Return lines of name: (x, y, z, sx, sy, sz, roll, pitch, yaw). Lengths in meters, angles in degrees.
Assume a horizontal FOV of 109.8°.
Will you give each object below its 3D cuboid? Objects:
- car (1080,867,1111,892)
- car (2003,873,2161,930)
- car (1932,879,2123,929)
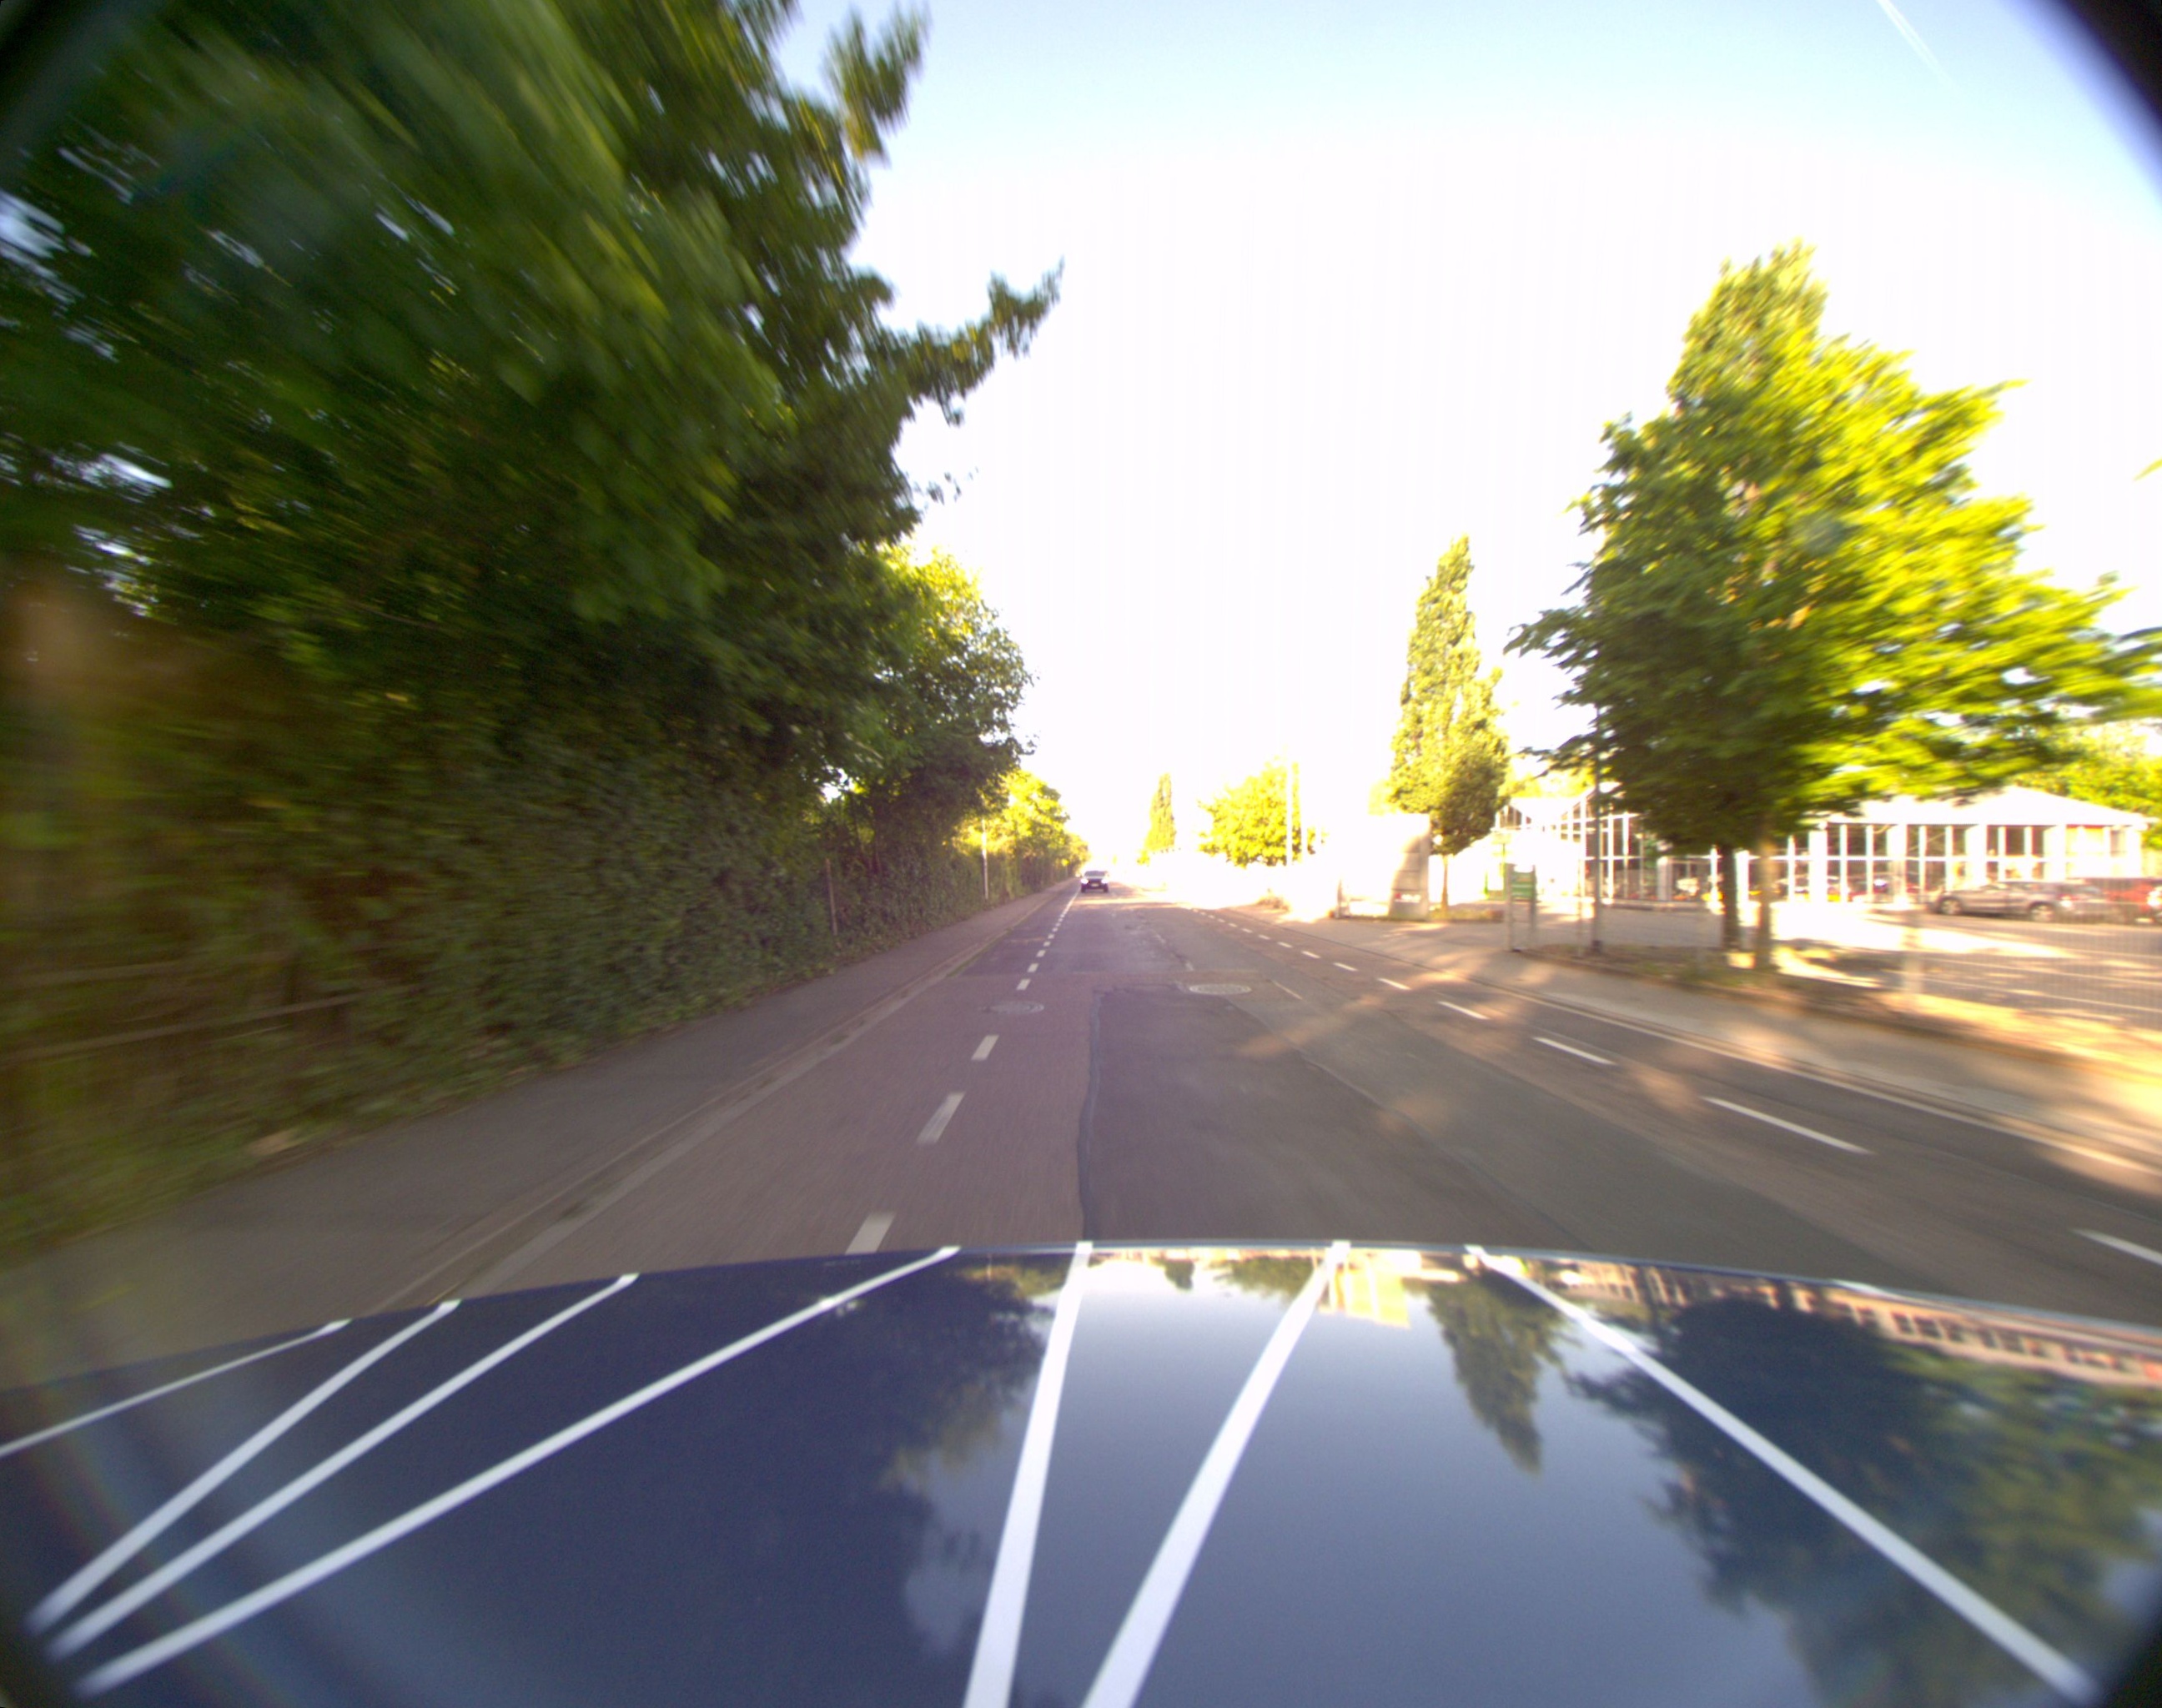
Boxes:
car: (1.028, 1.809, 54.547, 1.998, 1.608, 4.001, -3, -1, 1)
car: (36.293, 1.621, 27.120, 1.885, 1.729, 3.999, 0, 1, -1)
car: (33.837, 1.737, 27.362, 1.885, 1.501, 3.999, 0, 1, -1)
